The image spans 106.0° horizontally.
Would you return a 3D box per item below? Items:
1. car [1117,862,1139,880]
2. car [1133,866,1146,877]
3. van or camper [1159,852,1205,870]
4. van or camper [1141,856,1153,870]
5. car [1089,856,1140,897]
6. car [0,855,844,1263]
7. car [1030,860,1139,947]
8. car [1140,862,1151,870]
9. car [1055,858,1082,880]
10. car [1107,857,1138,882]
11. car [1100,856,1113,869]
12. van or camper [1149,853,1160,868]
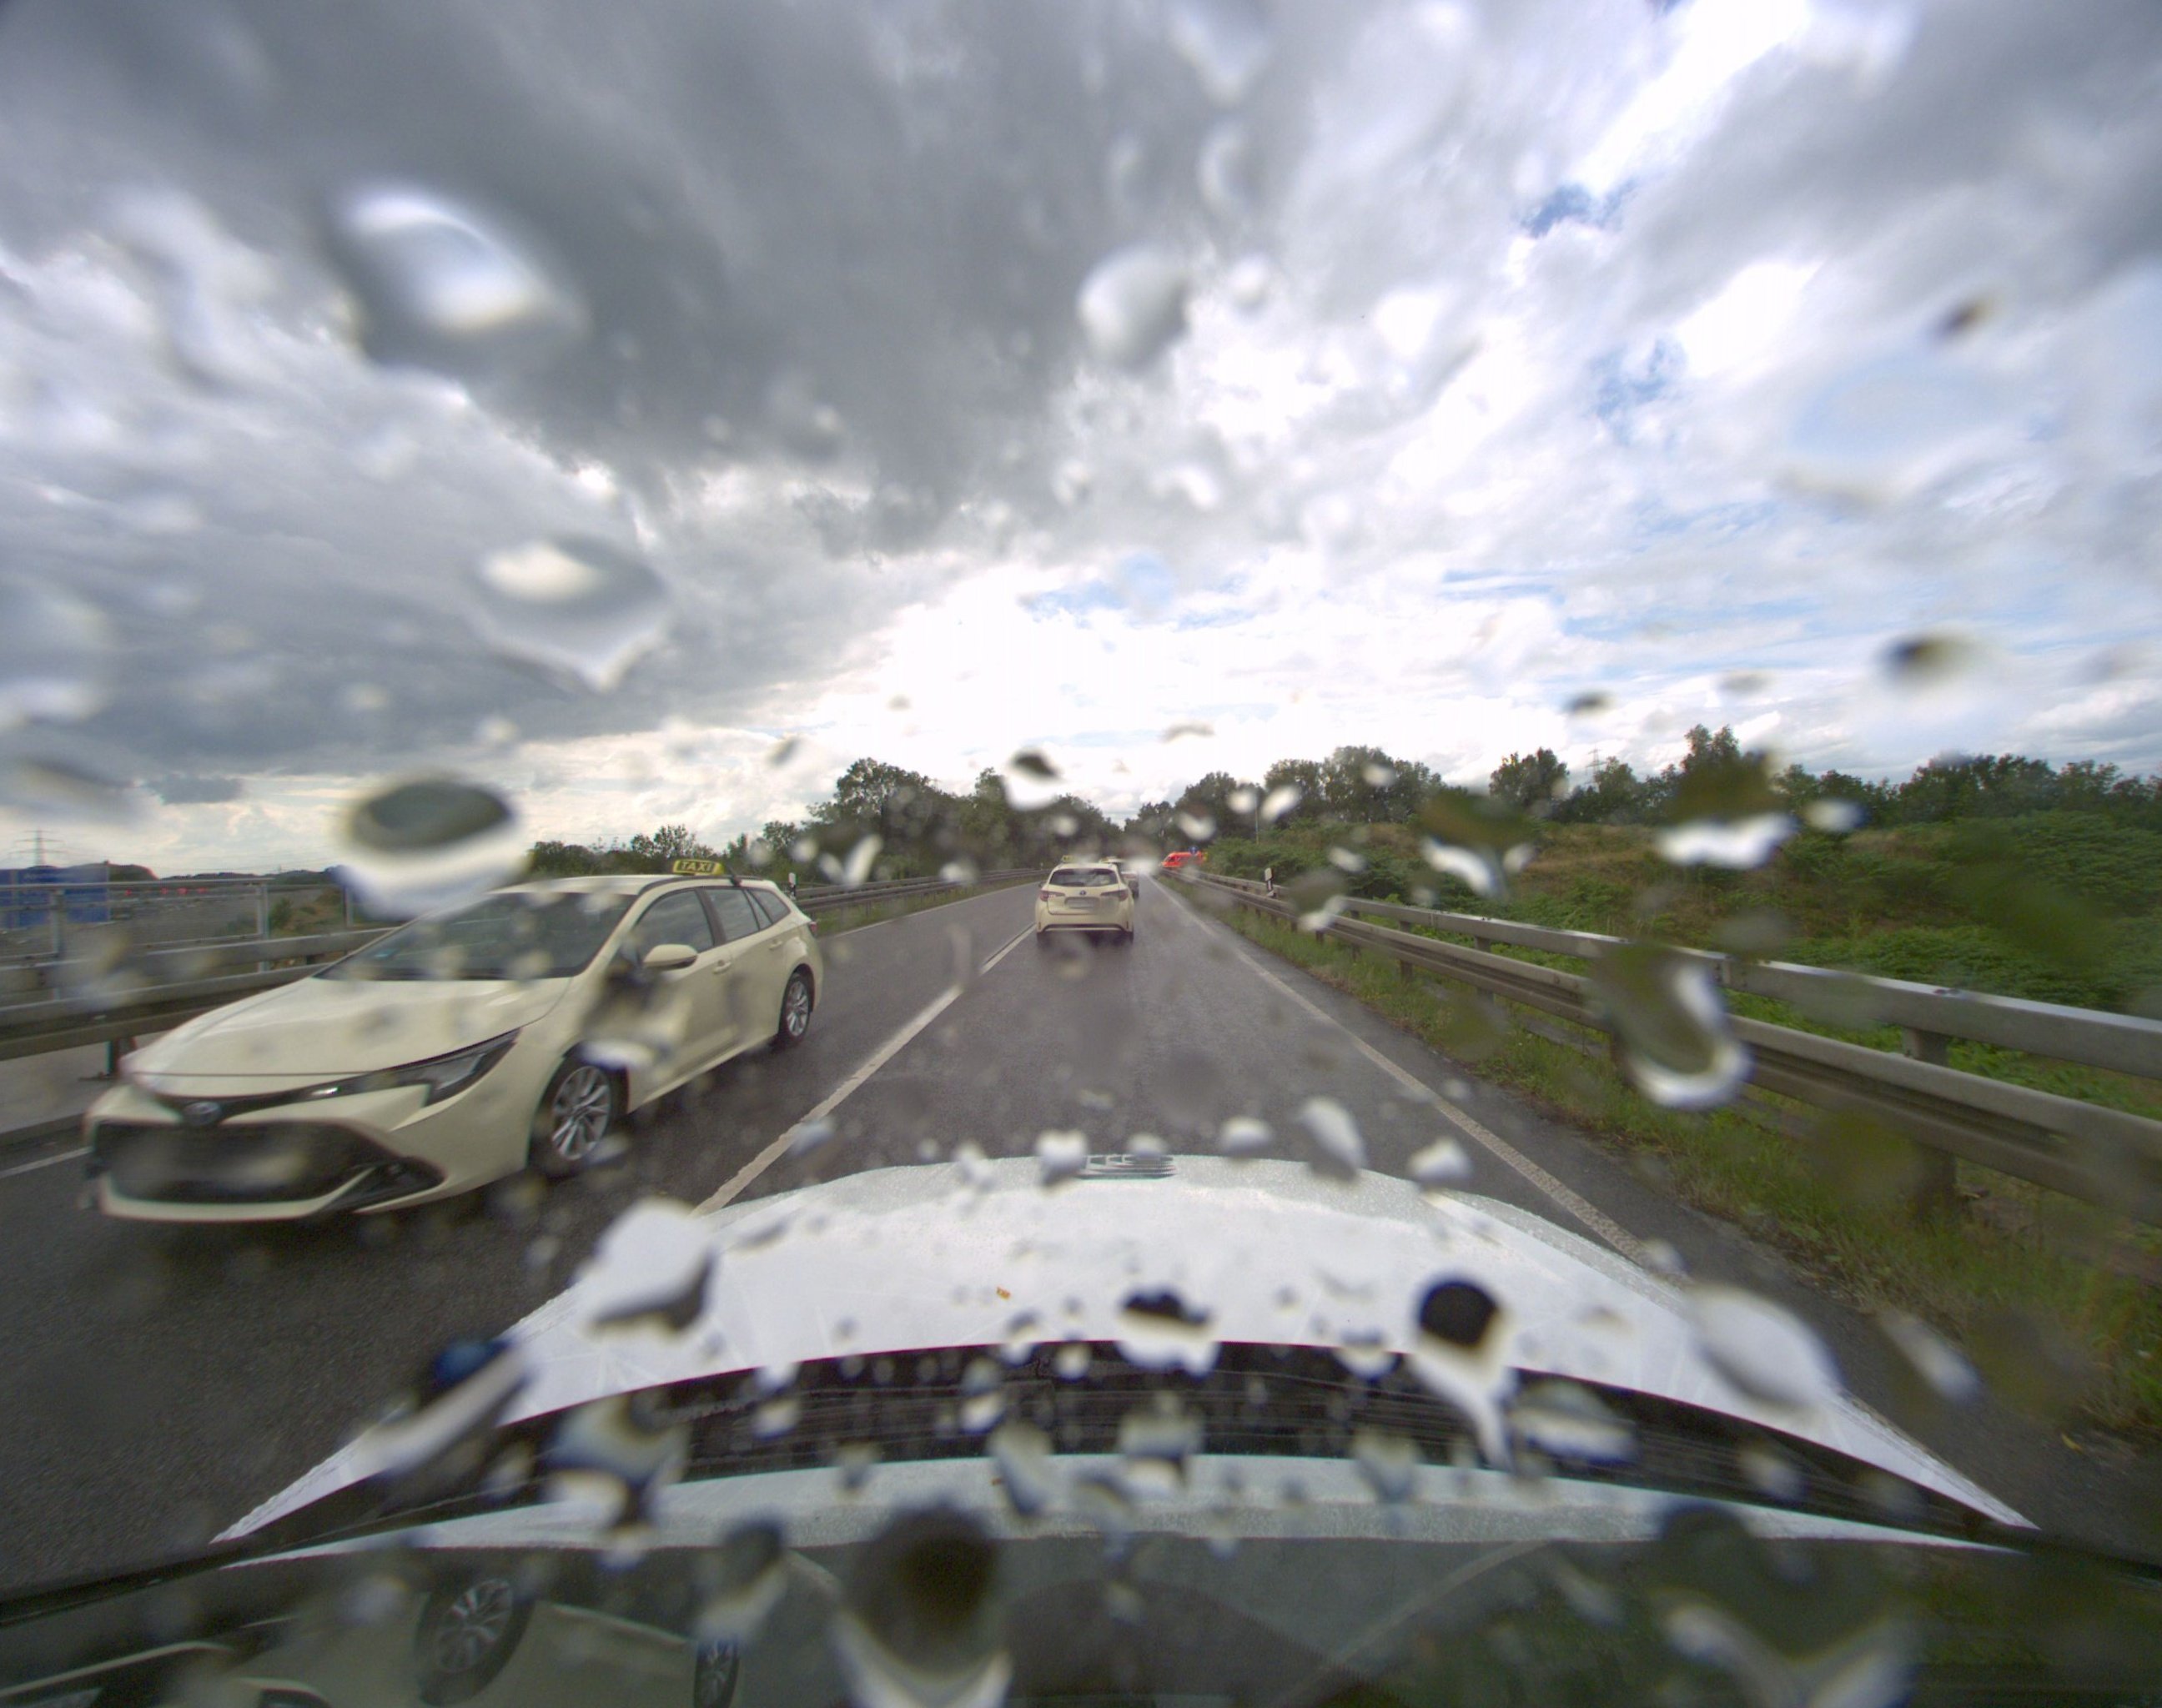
[{"bbox_3d":[4.113,1.454,71.921,1.847,1.443,4.173,0,1,2],"label":"car"},{"bbox_3d":[8.690,2.555,120.289,1.845,1.443,4.178,0,0,6],"label":"car"},{"bbox_3d":[13.078,0.864,105.506,5.683,2.241,2.011,0,0,-13],"label":"van or camper"},{"bbox_3d":[13.739,1.815,169.515,2.322,2.864,6.312,0,0,4],"label":"van or camper"},{"bbox_3d":[1.293,0.824,31.805,1.847,1.443,4.173,0,1,2],"label":"car"},{"bbox_3d":[-3.241,0.777,5.383,1.803,1.509,4.614,0,0,2],"label":"car"},{"bbox_3d":[0.134,0.852,15.911,1.847,1.394,4.173,0,1,2],"label":"car"},{"bbox_3d":[11.709,2.155,146.657,1.845,1.443,4.178,0,0,6],"label":"car"},{"bbox_3d":[-0.860,1.056,58.912,1.773,1.561,4.303,0,0,1],"label":"car"},{"bbox_3d":[2.593,0.953,51.221,1.847,1.443,4.173,0,1,2],"label":"car"},{"bbox_3d":[4.231,1.396,132.480,1.985,2.128,4.899,0,0,3],"label":"car"},{"bbox_3d":[17.864,1.513,197.856,2.322,3.562,6.312,0,0,4],"label":"van or camper"}]
